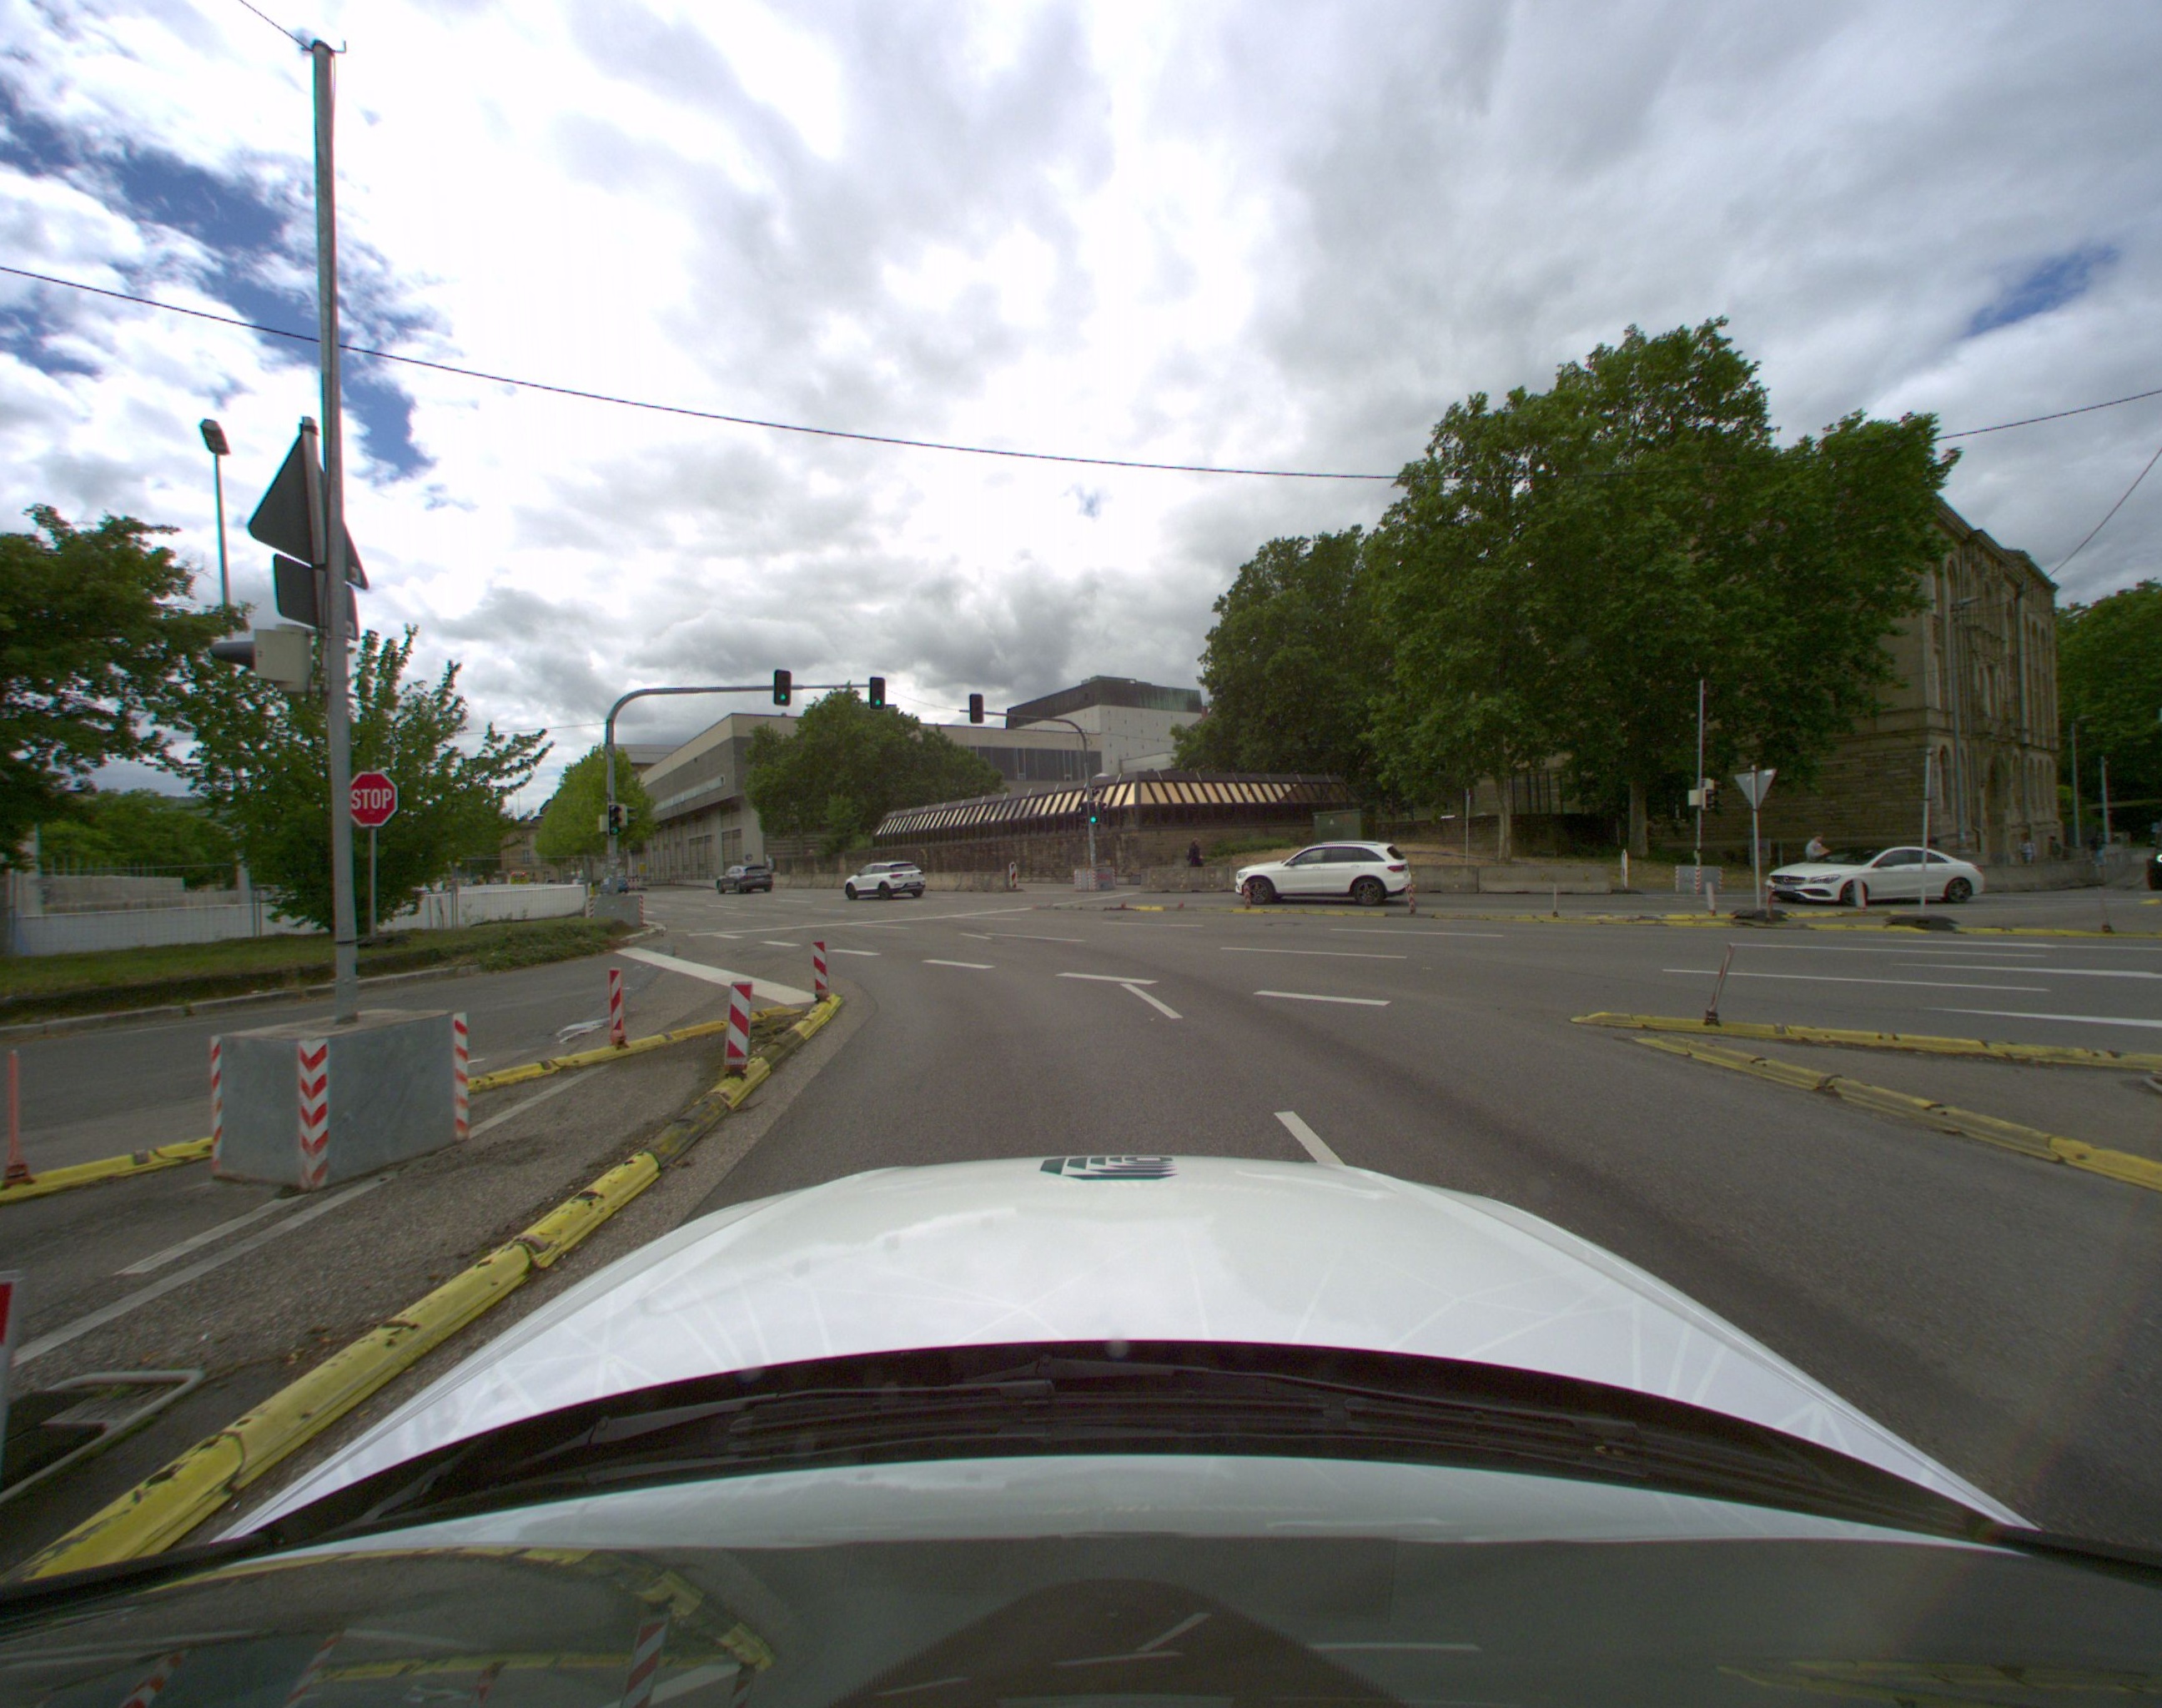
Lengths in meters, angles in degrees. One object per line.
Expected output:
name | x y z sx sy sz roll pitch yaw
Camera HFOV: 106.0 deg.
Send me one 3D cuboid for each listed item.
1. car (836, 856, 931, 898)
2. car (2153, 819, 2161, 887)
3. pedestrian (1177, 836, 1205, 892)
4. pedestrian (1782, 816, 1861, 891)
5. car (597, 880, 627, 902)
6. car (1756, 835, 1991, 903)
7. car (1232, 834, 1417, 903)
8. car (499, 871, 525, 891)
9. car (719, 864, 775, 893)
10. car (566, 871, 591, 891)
car | -8.543 1.023 35.045 4.276 1.567 1.767 -3 2 42
car | 32.938 -0.060 23.519 3.685 1.938 1.919 1 -4 -31
pedestrian | 4.053 0.378 29.997 0.841 2.014 0.626 -3 -1 21
pedestrian | 20.972 -0.016 23.095 1.182 2.013 1.209 -2 0 14
car | -40.913 3.202 70.982 1.837 1.740 4.431 -4 1 -34
car | 19.490 0.325 20.116 4.359 1.435 1.737 -2 1 -5
car | 6.580 0.379 22.105 4.494 1.642 1.829 -1 2 27
car | -75.045 3.506 107.500 2.602 2.374 5.466 -4 1 -35
car | -20.256 1.426 49.354 1.839 1.567 4.427 -4 2 -40
car | -50.668 2.714 82.077 1.837 1.740 4.431 -4 1 -34
